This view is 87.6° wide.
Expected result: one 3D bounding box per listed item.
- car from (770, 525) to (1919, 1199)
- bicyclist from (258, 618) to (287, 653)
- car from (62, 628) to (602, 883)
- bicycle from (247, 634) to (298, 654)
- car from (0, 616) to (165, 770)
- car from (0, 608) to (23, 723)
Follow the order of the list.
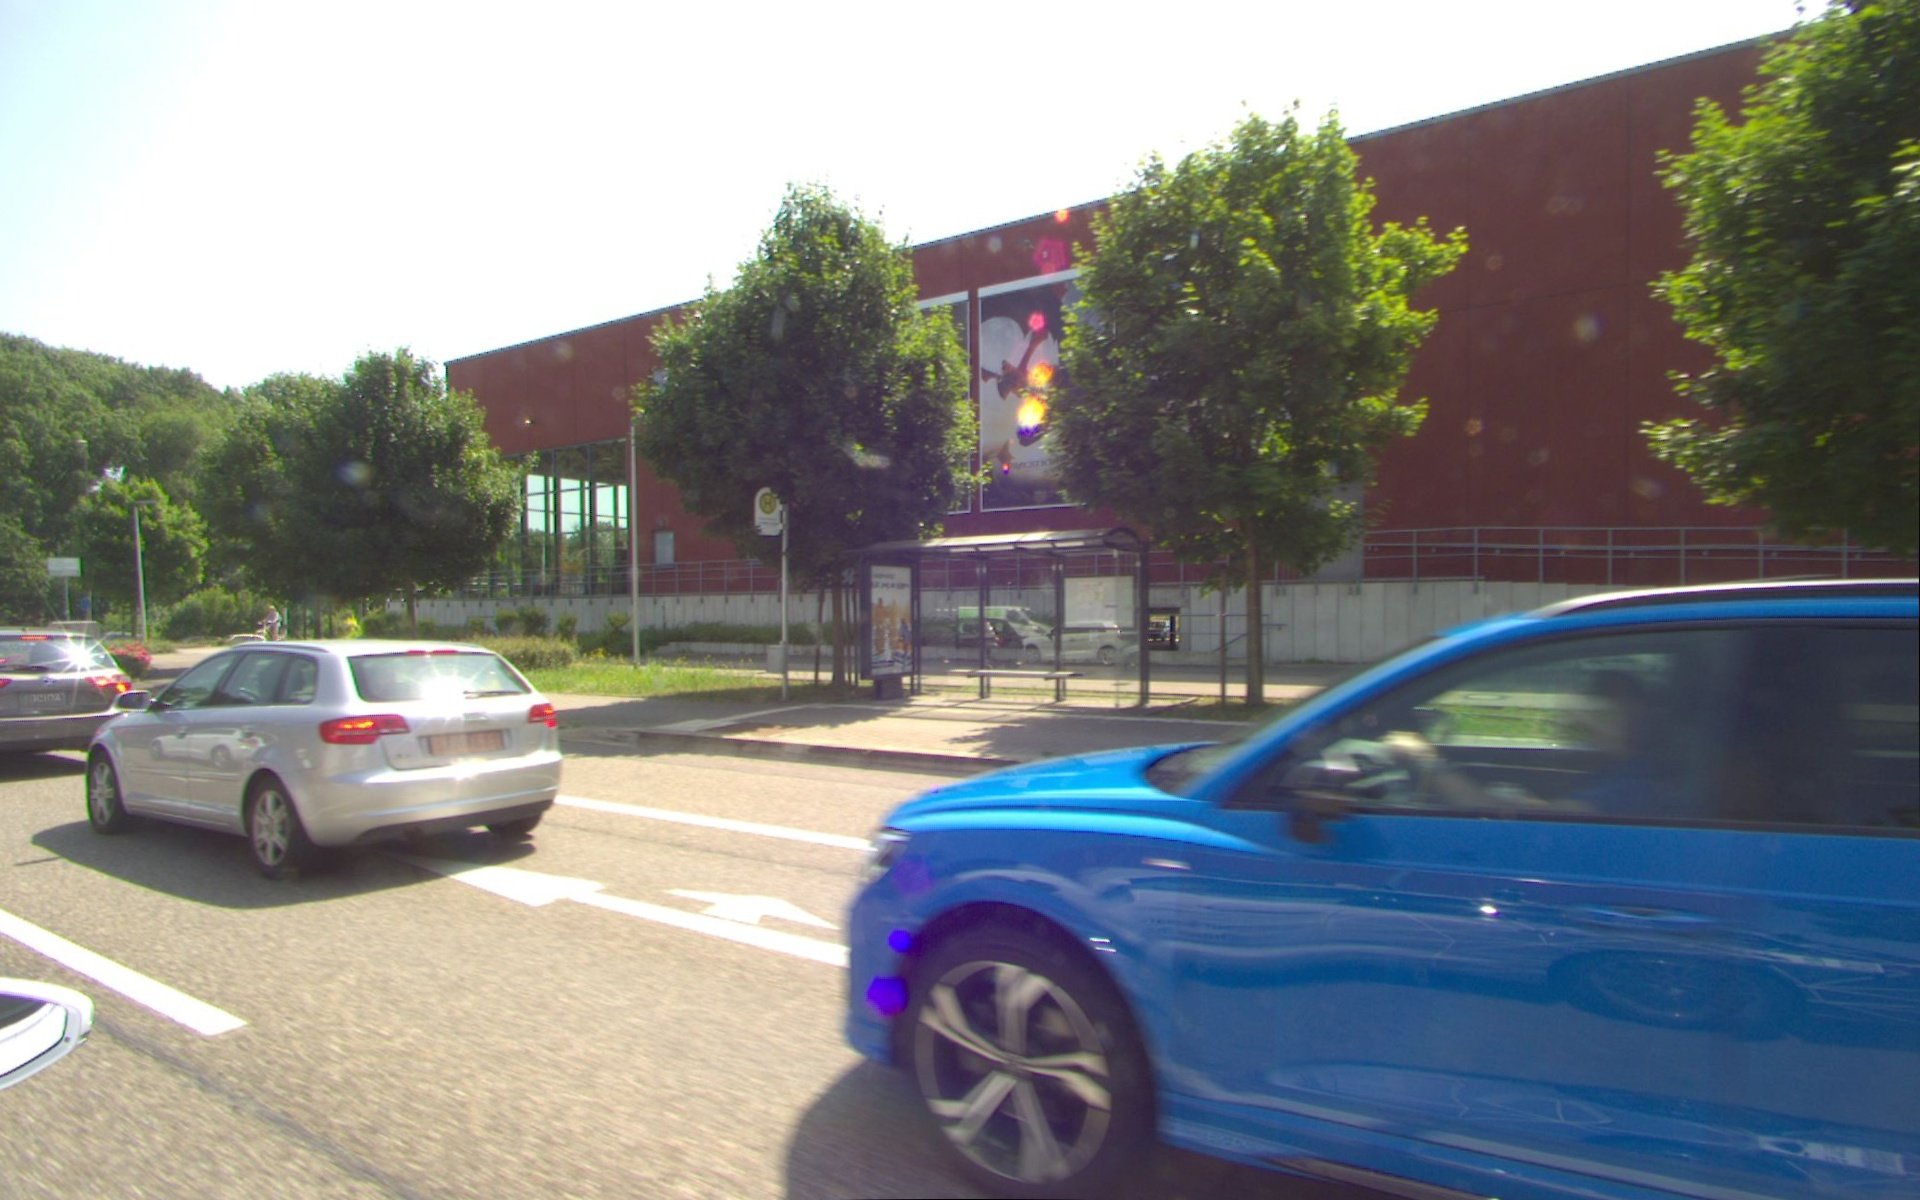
[{"bbox_3d":[1.742,0.703,2.609,4.337,1.616,1.834,-1,-1,32],"label":"car"},{"bbox_3d":[-28.943,1.500,42.163,0.588,1.458,0.828,0,1,16],"label":"bicyclist"},{"bbox_3d":[-4.656,0.915,7.292,4.032,1.379,1.710,-1,-2,31],"label":"car"},{"bbox_3d":[-28.945,1.849,42.188,0.589,0.776,1.825,-1,0,14],"label":"bicycle"},{"bbox_3d":[-10.808,0.955,11.171,4.032,1.496,1.710,-1,-4,31],"label":"car"},{"bbox_3d":[-15.538,0.933,14.622,4.032,1.614,1.709,-1,-1,31],"label":"car"}]
